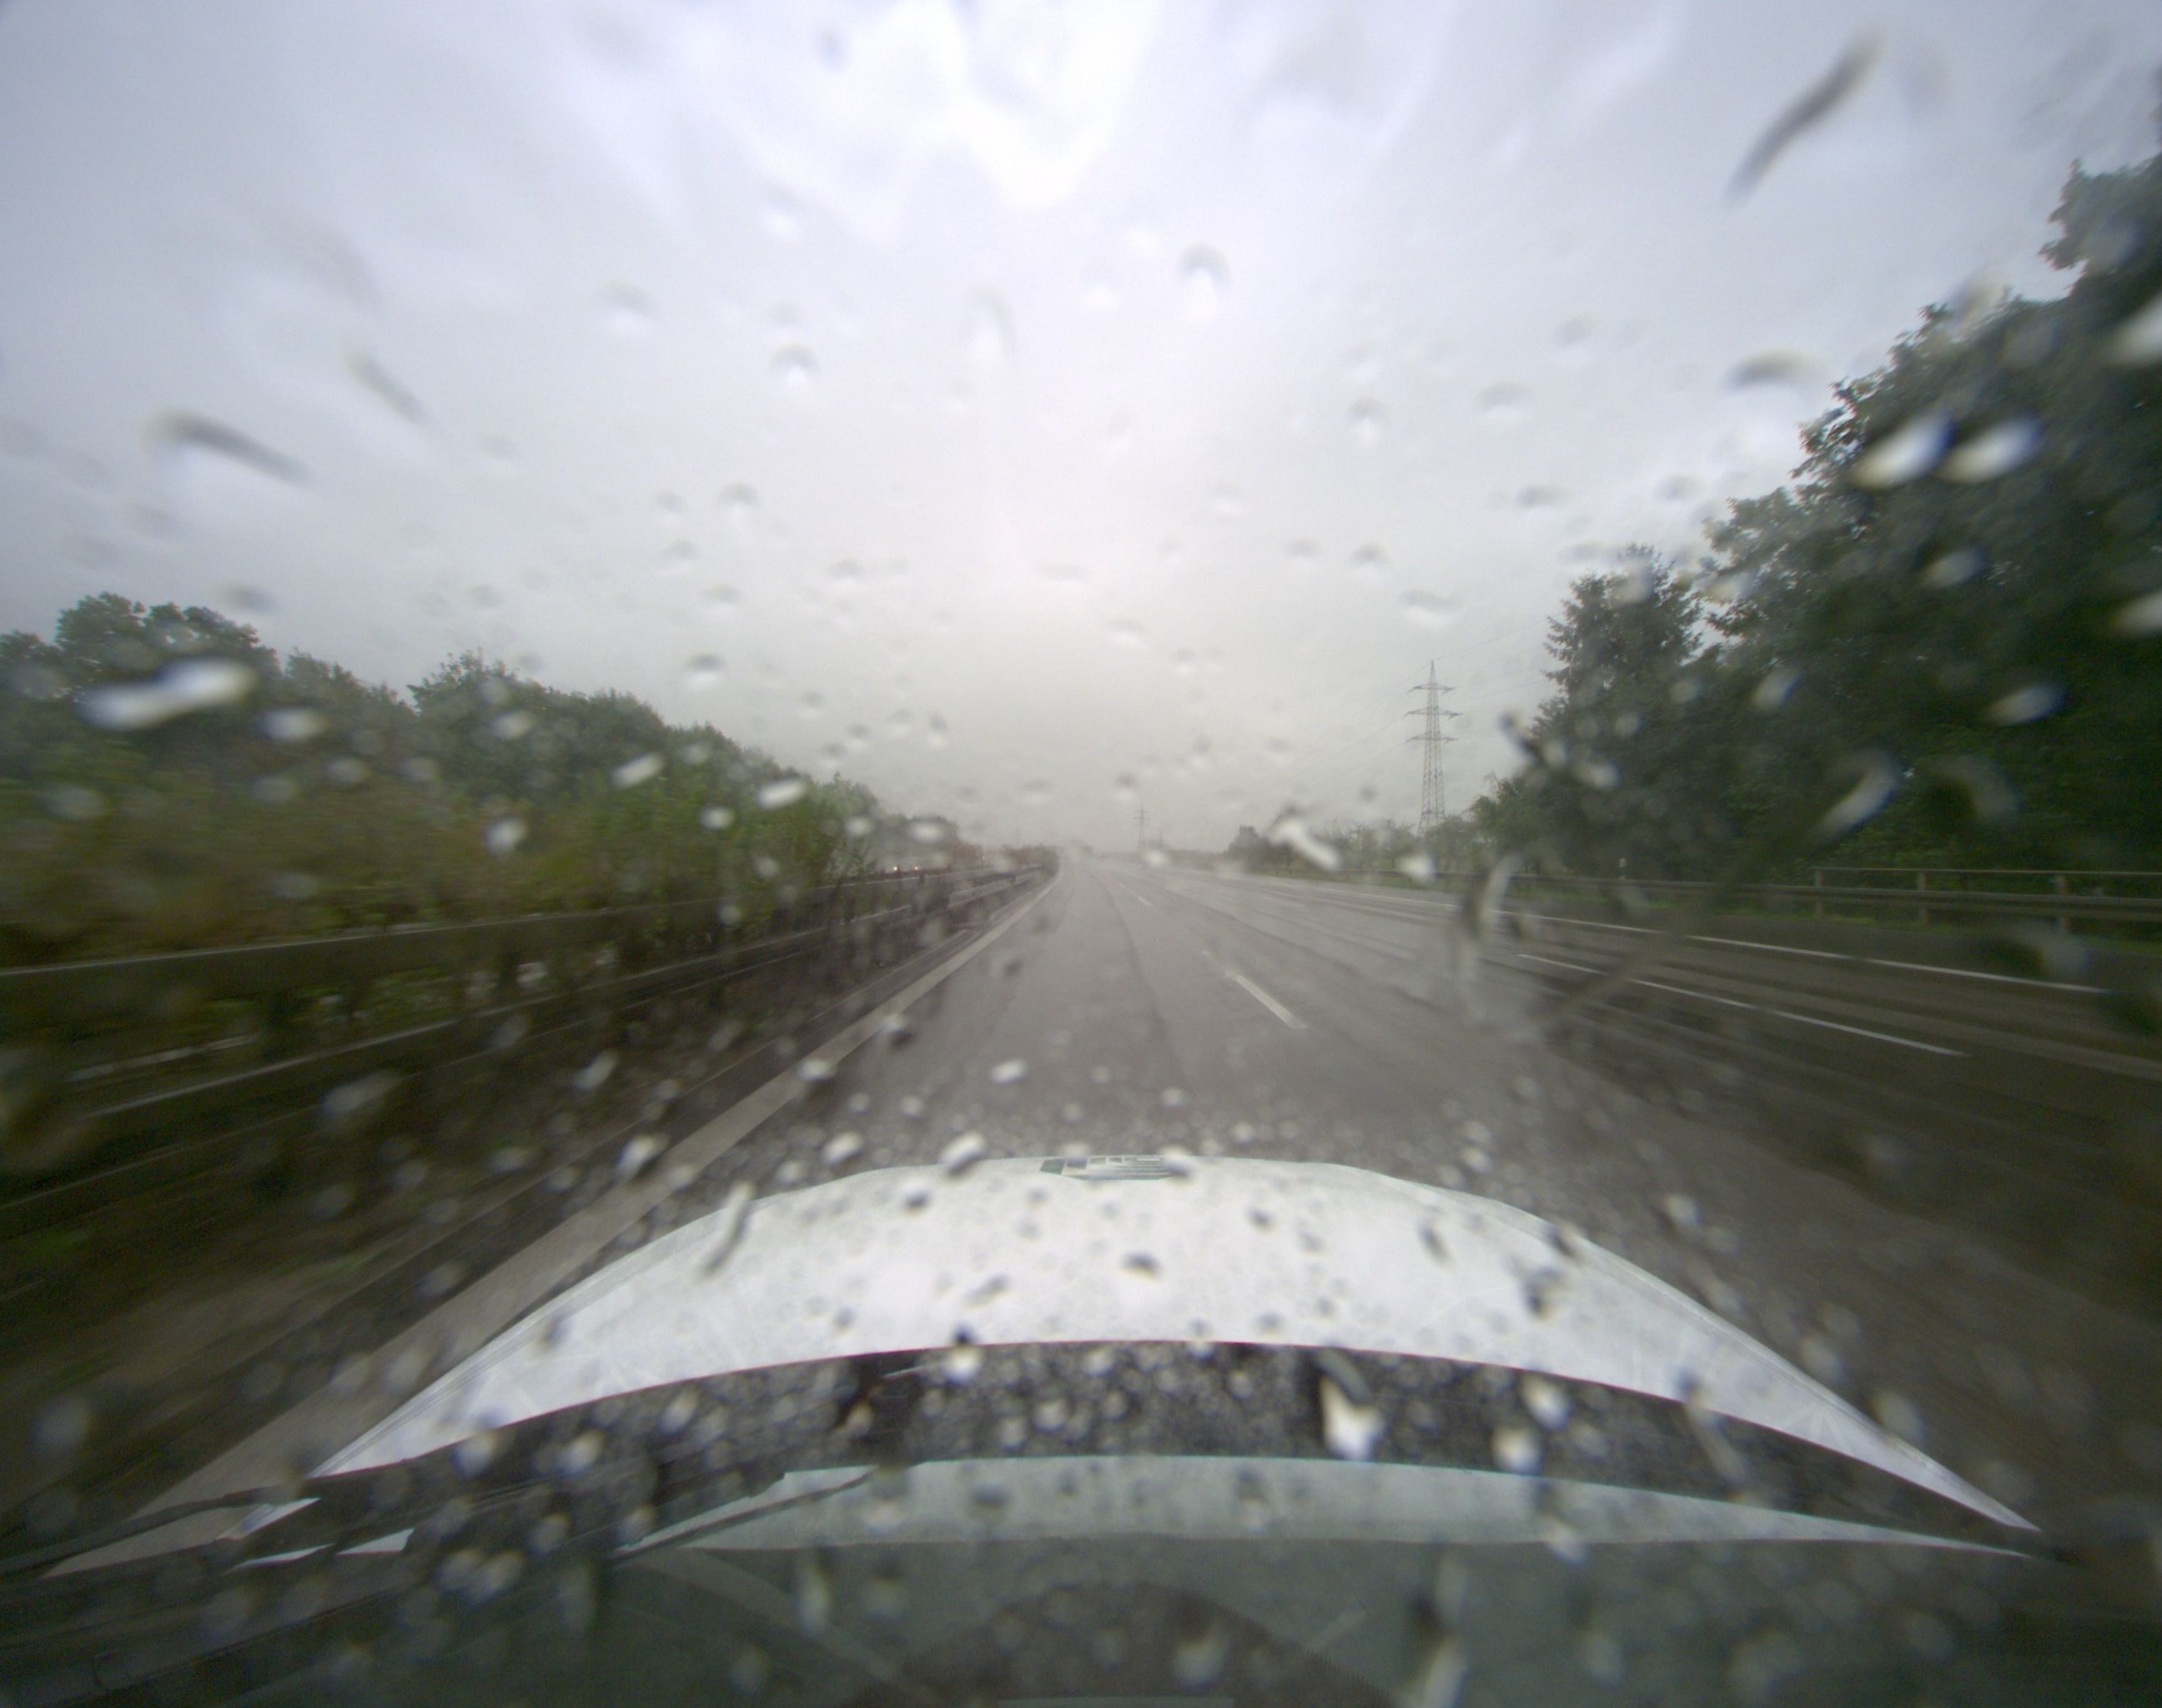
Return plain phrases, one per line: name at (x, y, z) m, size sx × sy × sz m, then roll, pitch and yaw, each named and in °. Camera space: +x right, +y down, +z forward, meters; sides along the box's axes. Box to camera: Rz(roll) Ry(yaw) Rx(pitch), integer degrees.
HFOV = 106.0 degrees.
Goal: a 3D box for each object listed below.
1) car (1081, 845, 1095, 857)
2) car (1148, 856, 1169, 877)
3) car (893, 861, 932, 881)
car at (1.926, -0.695, 222.090) m, size 3.194 × 3.193 × 7.244 m, roll 0°, pitch 0°, yaw -5°
car at (8.269, 1.347, 87.011) m, size 1.802 × 2.158 × 3.997 m, roll 0°, pitch 0°, yaw -2°
car at (-12.326, 1.225, 59.691) m, size 1.987 × 1.464 × 4.000 m, roll 0°, pitch -1°, yaw 0°
